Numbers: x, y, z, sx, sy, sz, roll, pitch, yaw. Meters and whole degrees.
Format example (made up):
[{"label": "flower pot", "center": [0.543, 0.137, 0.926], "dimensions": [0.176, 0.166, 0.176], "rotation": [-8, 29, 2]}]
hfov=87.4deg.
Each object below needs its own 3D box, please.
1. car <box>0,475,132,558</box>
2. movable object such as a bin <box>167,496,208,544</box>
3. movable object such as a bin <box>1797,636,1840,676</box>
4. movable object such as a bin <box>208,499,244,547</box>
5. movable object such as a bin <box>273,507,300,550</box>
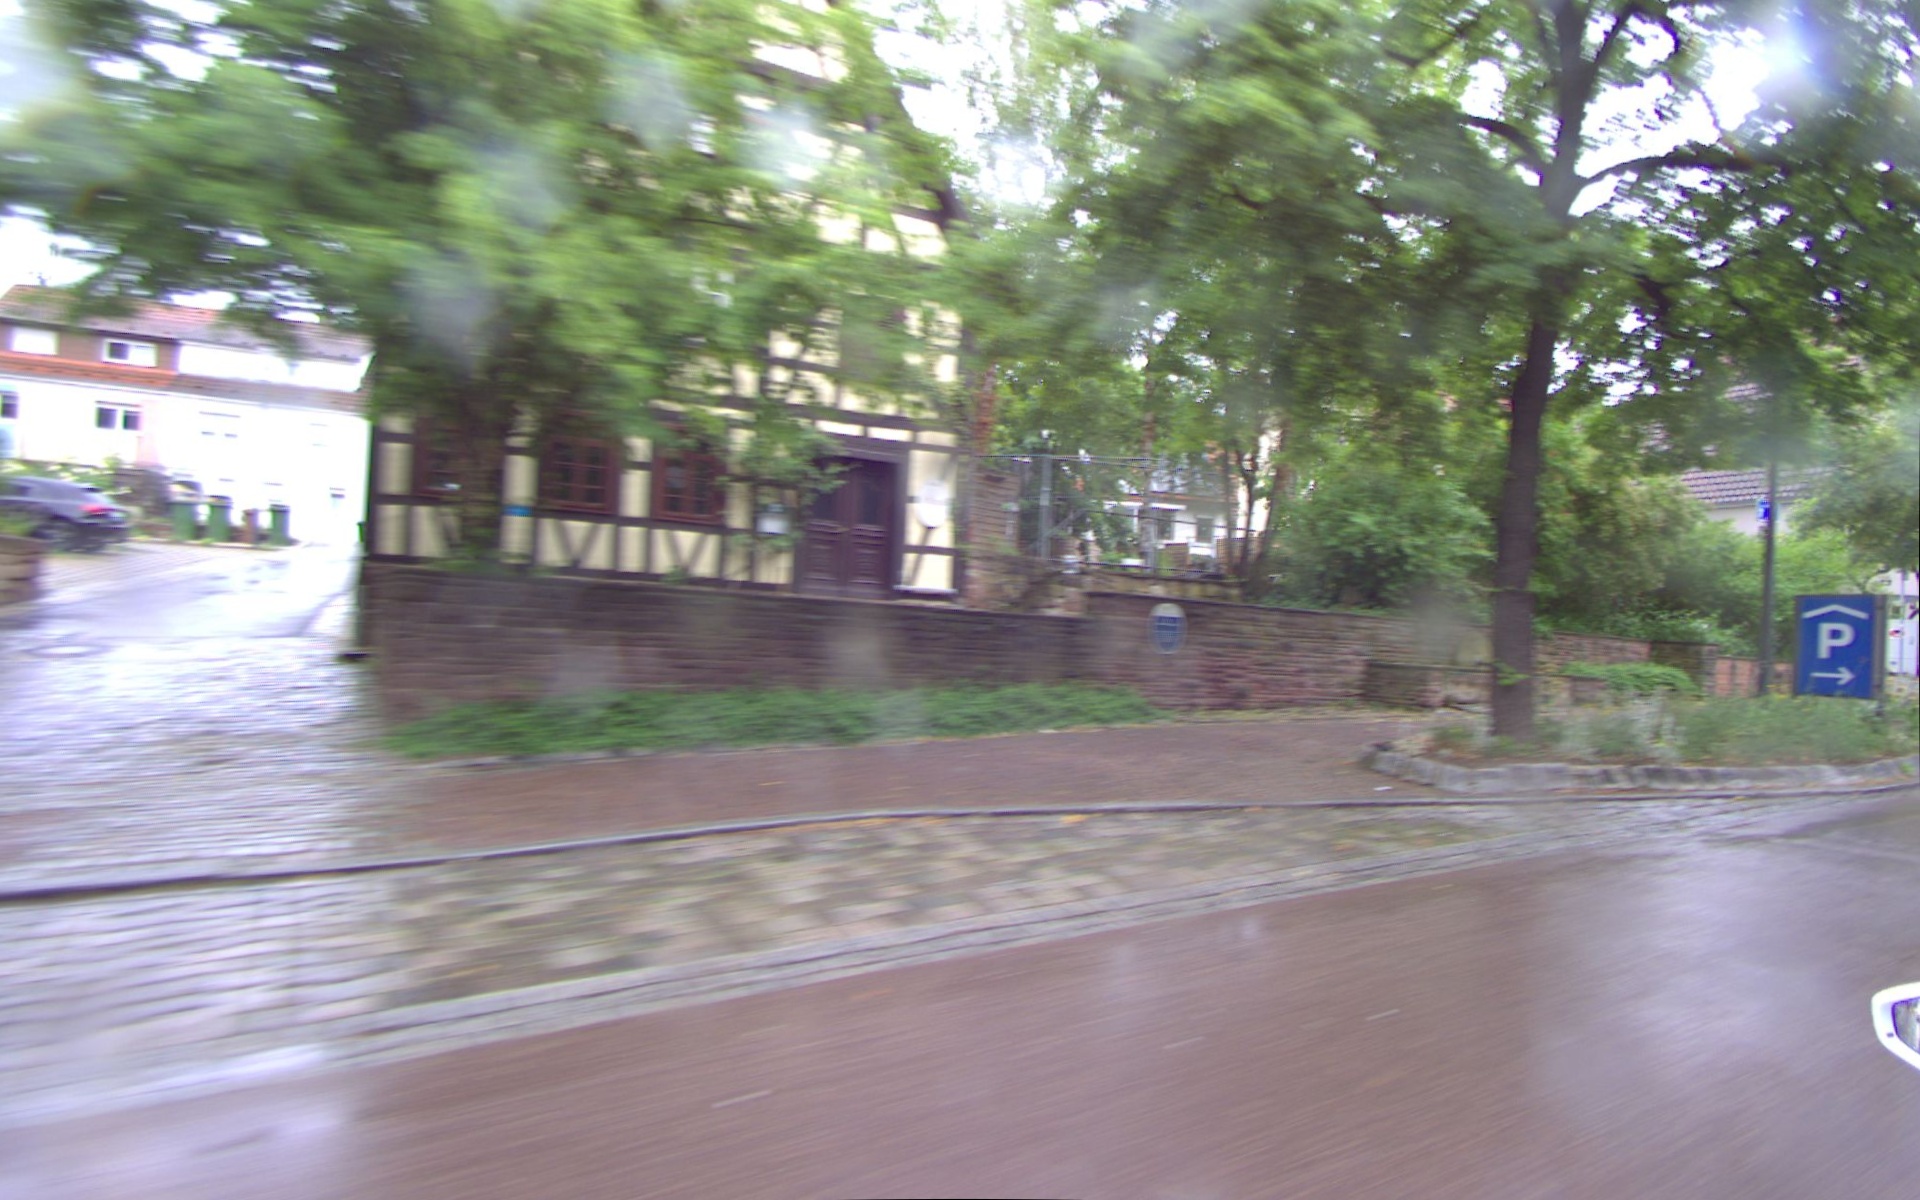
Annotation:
[{"label": "car", "center": [-18.414, -1.690, 19.432], "dimensions": [3.611, 1.361, 1.598], "rotation": [4, 4, -39]}, {"label": "movable object such as a bin", "center": [-19.992, -2.051, 26.009], "dimensions": [0.703, 1.121, 0.683], "rotation": [3, -2, -30]}, {"label": "movable object such as a bin", "center": [23.324, 1.524, 27.296], "dimensions": [0.727, 1.048, 0.573], "rotation": [2, -1, -16]}, {"label": "movable object such as a bin", "center": [-19.223, -2.015, 26.312], "dimensions": [0.636, 1.145, 0.683], "rotation": [3, -2, -29]}, {"label": "movable object such as a bin", "center": [-17.988, -1.899, 26.834], "dimensions": [0.491, 1.040, 0.683], "rotation": [3, -2, -29]}]
